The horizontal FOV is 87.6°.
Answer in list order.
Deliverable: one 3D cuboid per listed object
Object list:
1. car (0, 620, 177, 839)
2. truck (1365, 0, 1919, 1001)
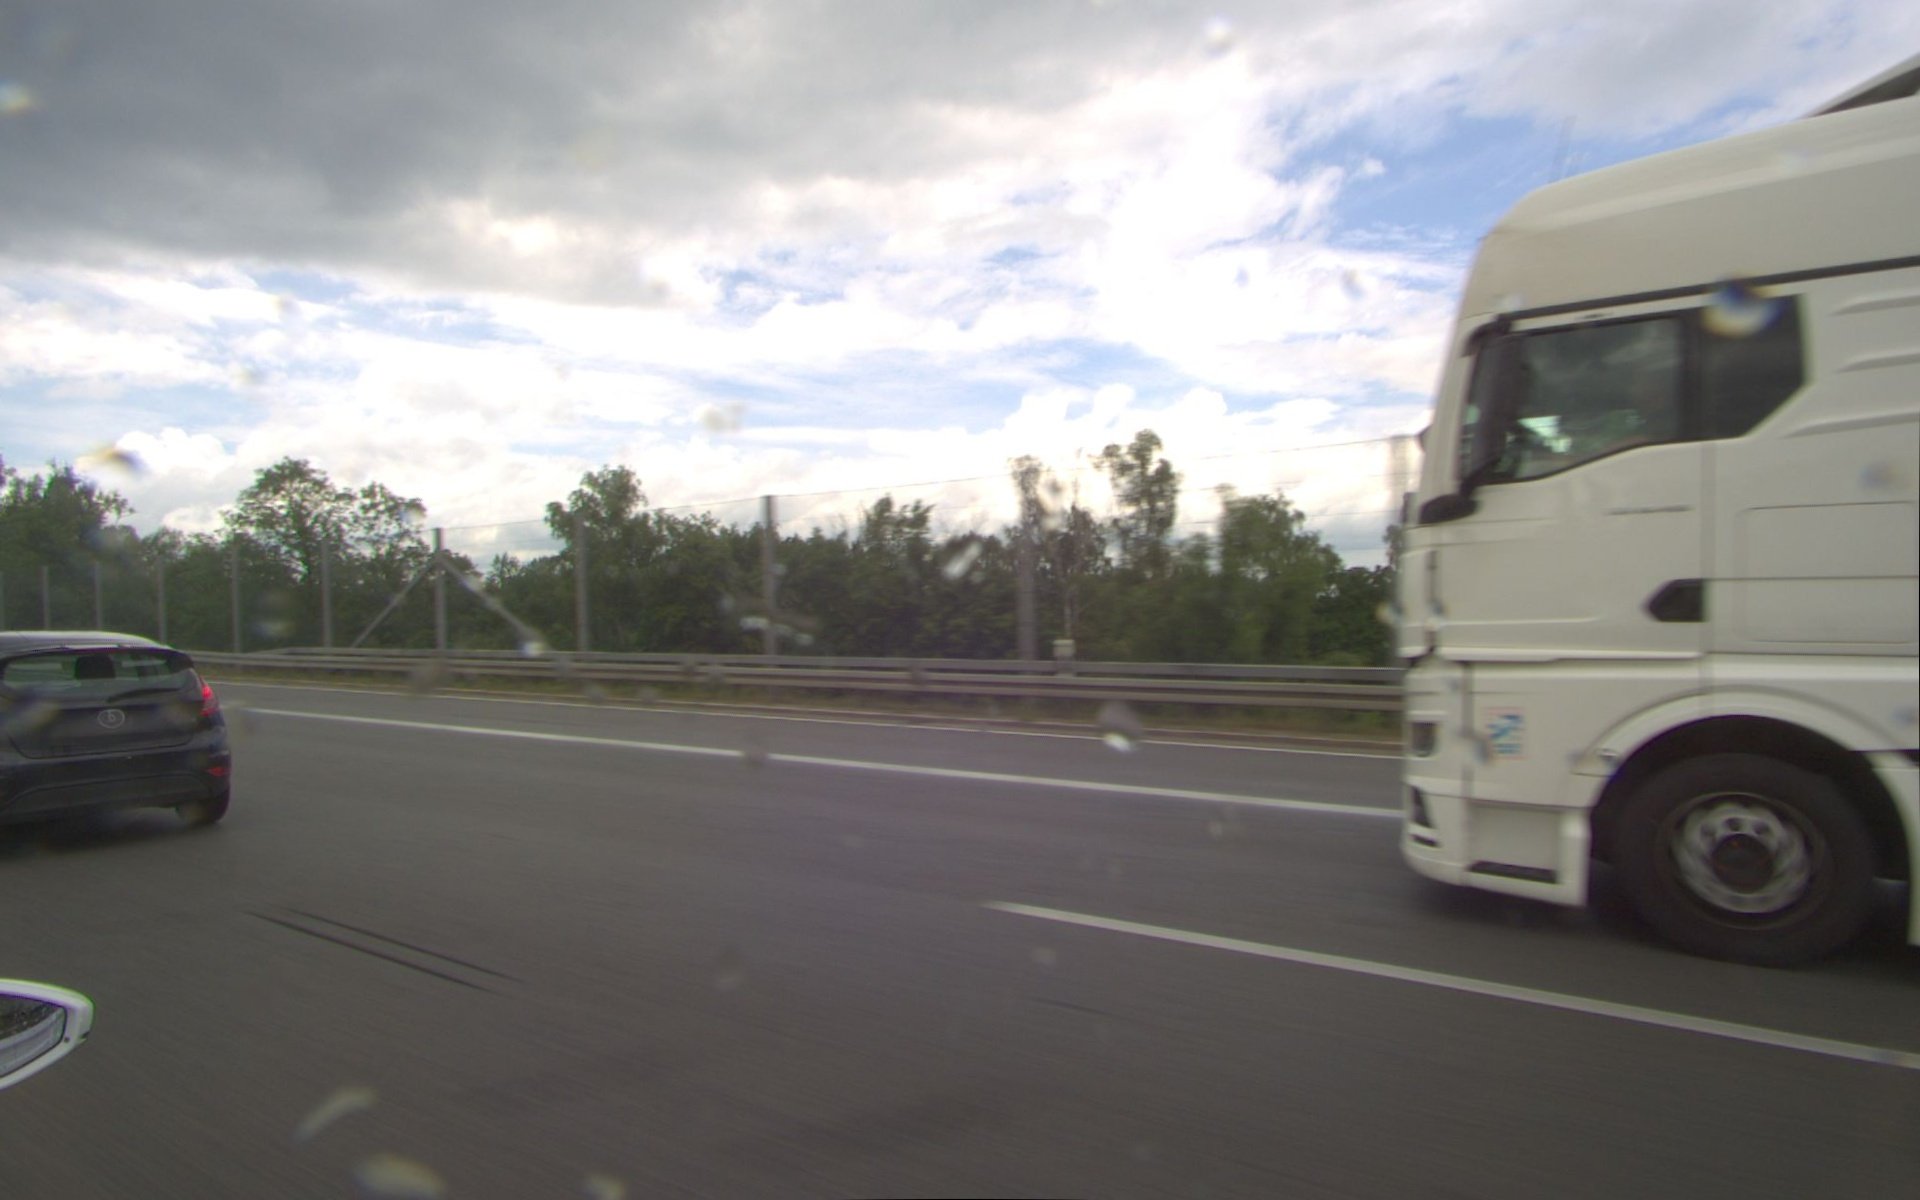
[{"bbox_3d":[-7.573,0.886,7.743,3.118,1.460,1.444,-1,-1,32],"label":"car"},{"bbox_3d":[5.541,-0.446,4.548,6.492,4.072,2.957,0,-1,32],"label":"truck"}]
